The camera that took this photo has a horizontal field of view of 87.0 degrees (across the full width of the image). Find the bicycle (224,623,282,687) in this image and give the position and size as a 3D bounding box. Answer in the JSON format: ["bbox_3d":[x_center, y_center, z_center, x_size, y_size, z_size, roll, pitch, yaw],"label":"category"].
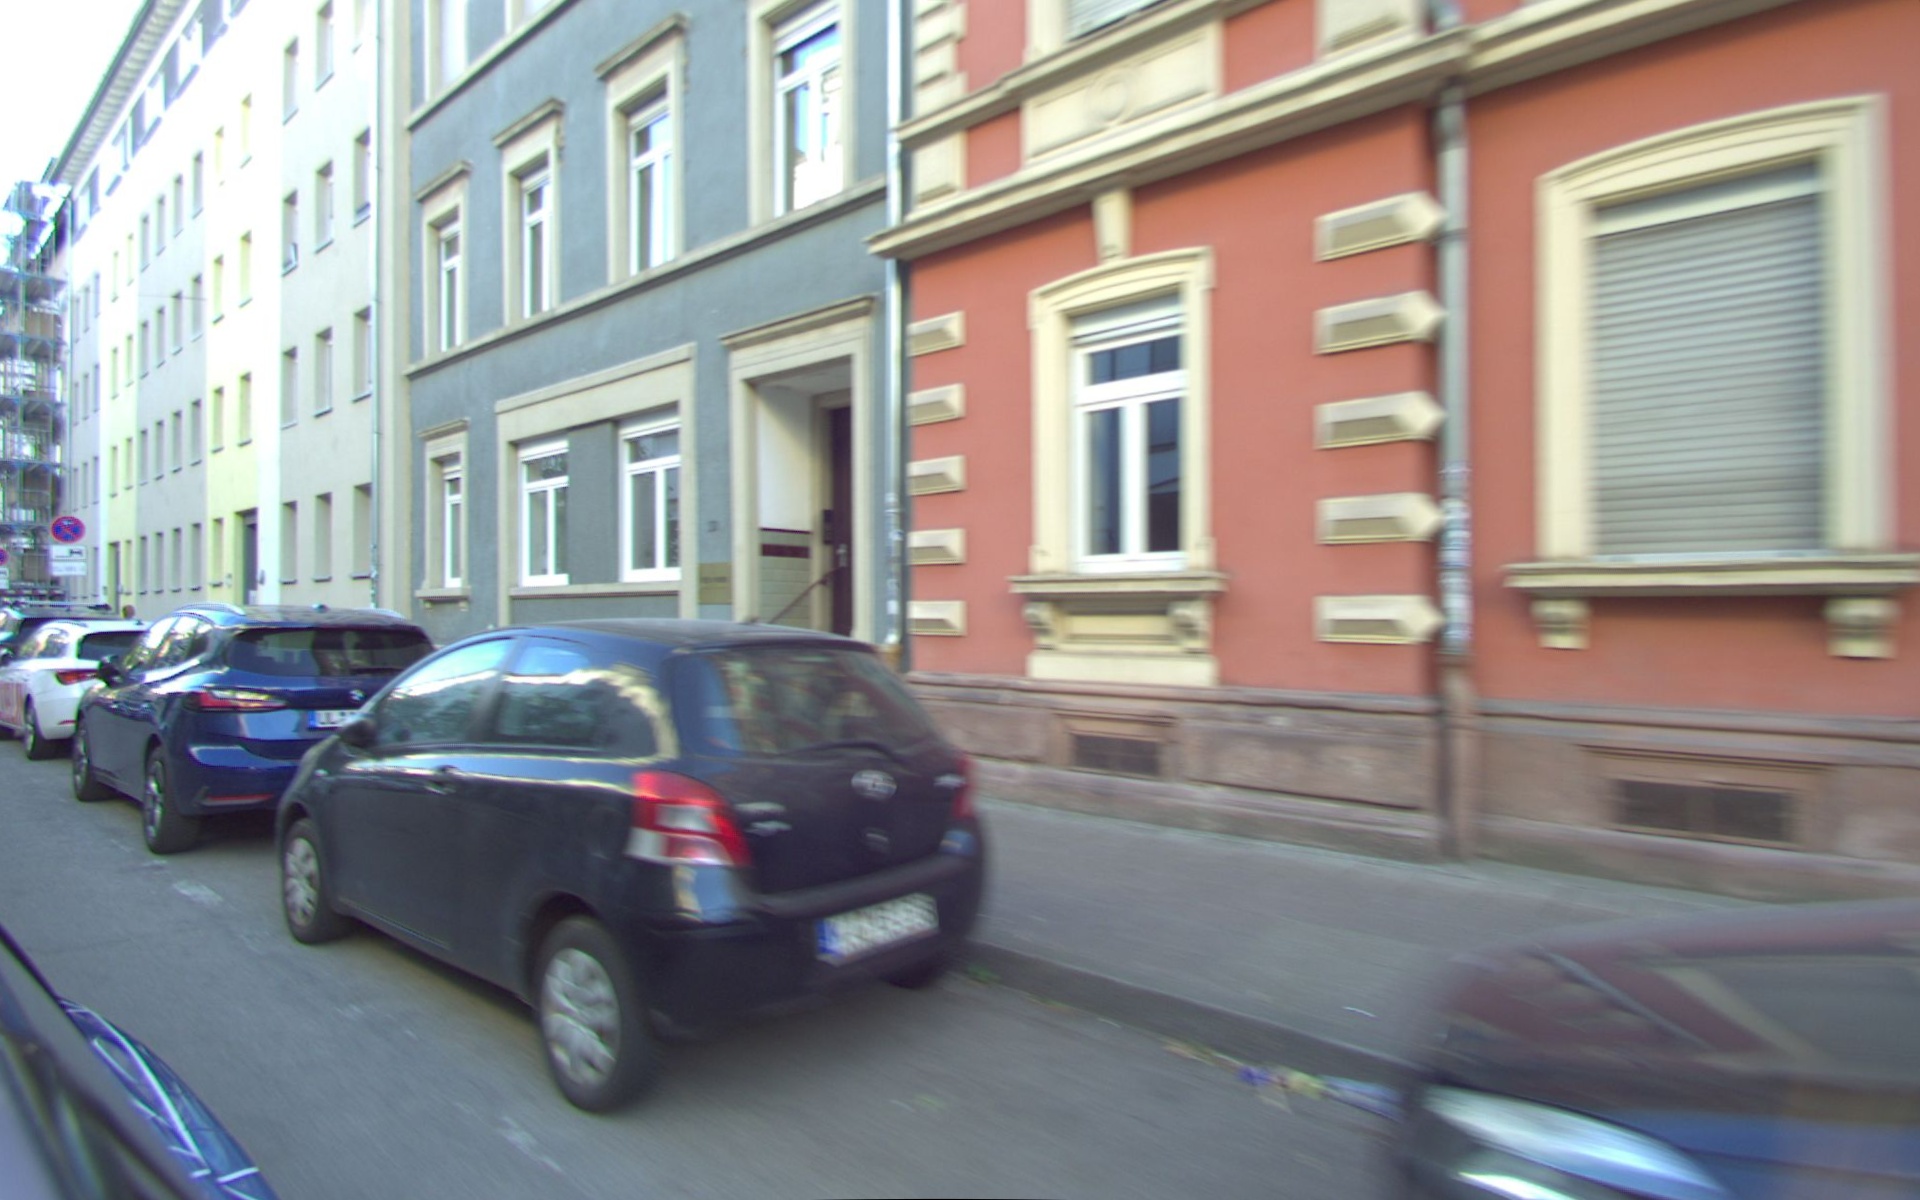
[{"bbox_3d":[-12.783,0.969,18.270,1.751,1.082,0.446,-1,0,41],"label":"bicycle"}]

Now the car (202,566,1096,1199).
[{"bbox_3d":[-1.684,0.772,4.616,4.237,1.572,1.881,-1,-3,40],"label":"car"}]

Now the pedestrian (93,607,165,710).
[{"bbox_3d":[-15.018,1.037,18.286,1.091,1.804,0.781,-1,-2,41],"label":"pedestrian"}]

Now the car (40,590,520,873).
[{"bbox_3d":[-5.347,0.802,7.746,4.263,1.572,1.901,-1,-3,40],"label":"car"}]

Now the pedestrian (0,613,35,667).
[{"bbox_3d":[-31.715,1.324,33.994,1.091,1.774,0.781,-1,-2,41],"label":"pedestrian"}]

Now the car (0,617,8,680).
[{"bbox_3d":[-25.053,1.137,24.857,4.614,1.500,1.903,-1,-2,40],"label":"car"}]

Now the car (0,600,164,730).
[{"bbox_3d":[-13.654,0.903,15.082,4.465,1.676,1.901,-1,-3,40],"label":"car"}]

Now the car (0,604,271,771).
[{"bbox_3d":[-9.768,0.895,11.653,4.263,1.572,1.901,-1,-3,40],"label":"car"}]

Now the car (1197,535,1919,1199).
[{"bbox_3d":[2.582,0.700,0.861,4.263,1.495,1.901,-1,-3,40],"label":"car"}]

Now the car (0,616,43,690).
[{"bbox_3d":[-21.365,1.078,21.840,4.418,1.500,1.760,-1,-2,41],"label":"car"}]
